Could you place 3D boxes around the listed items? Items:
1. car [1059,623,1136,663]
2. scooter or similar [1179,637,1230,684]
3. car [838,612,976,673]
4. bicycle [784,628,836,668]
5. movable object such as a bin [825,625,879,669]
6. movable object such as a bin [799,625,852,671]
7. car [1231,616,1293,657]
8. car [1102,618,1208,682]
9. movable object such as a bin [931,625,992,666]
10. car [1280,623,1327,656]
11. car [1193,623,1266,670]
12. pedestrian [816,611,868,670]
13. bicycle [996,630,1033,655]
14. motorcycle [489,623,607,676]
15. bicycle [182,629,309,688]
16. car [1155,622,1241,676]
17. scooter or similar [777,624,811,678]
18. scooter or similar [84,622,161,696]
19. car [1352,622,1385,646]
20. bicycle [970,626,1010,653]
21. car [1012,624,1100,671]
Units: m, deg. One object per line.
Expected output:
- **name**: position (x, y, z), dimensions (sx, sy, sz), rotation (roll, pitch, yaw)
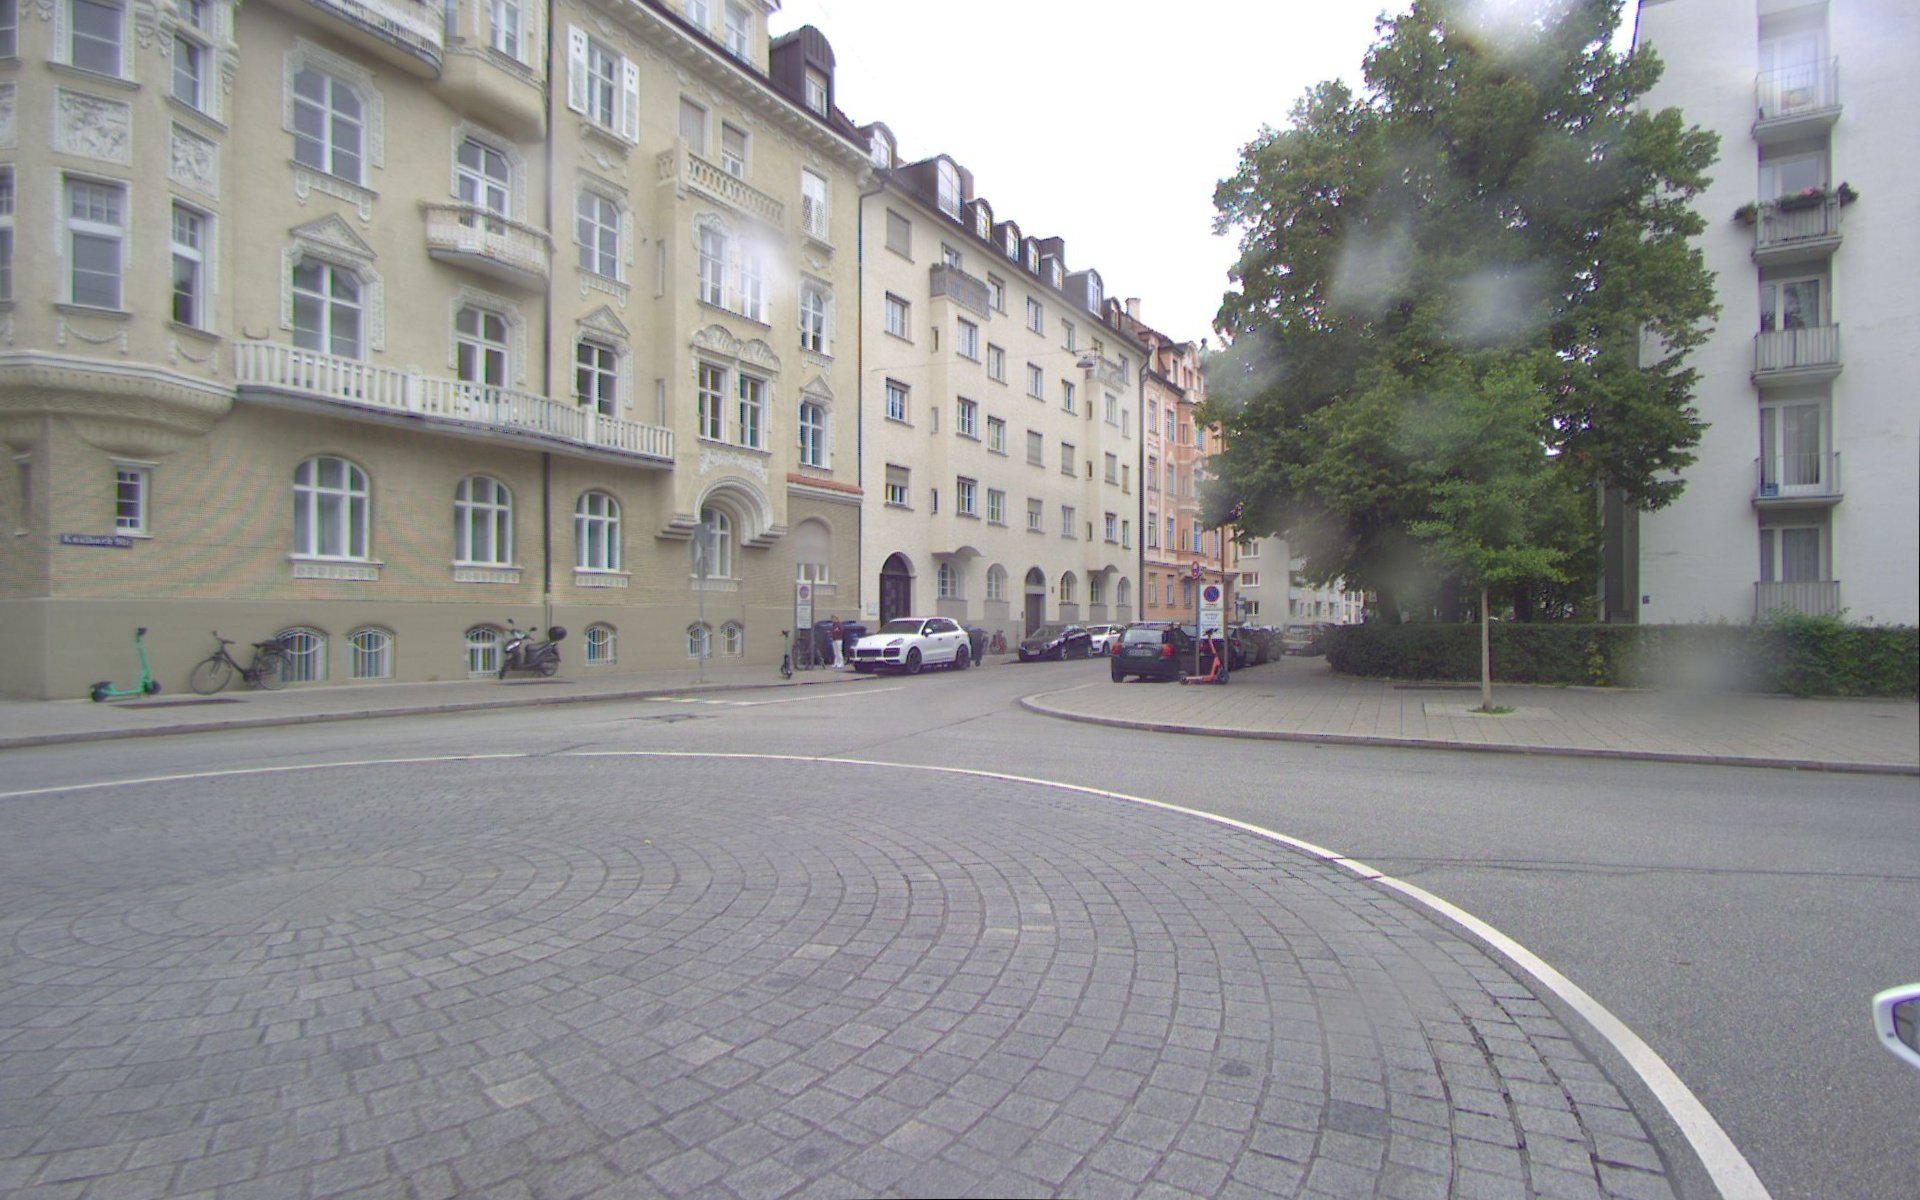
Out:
- **car**: position (6.111, 1.854, 44.276), dimensions (1.964, 1.617, 4.204), rotation (0, -1, 30)
- **scooter or similar**: position (5.632, 1.387, 23.131), dimensions (1.119, 1.039, 0.379), rotation (0, -1, 18)
- **car**: position (-1.504, 1.241, 30.785), dimensions (1.964, 1.714, 4.801), rotation (0, -1, 30)
- **bicycle**: position (-4.441, 1.405, 29.815), dimensions (0.540, 1.165, 1.842), rotation (0, -1, 29)
- **movable object such as a bin**: position (-3.687, 1.586, 34.286), dimensions (1.321, 1.477, 1.293), rotation (-1, -1, 31)
- **movable object such as a bin**: position (-4.431, 1.580, 33.133), dimensions (1.321, 1.477, 1.160), rotation (-1, -1, 31)
- **car**: position (12.200, 1.425, 40.407), dimensions (1.743, 1.538, 4.031), rotation (0, -1, 26)
- **car**: position (5.208, 1.253, 26.435), dimensions (1.743, 1.538, 4.031), rotation (0, -1, 26)
- **movable object such as a bin**: position (0.061, 1.543, 34.825), dimensions (1.535, 1.367, 1.534), rotation (0, -1, 32)
- **car**: position (17.294, 1.958, 50.463), dimensions (1.743, 1.538, 4.031), rotation (0, -1, 26)
- **car**: position (9.572, 1.605, 35.514), dimensions (1.743, 1.538, 4.031), rotation (0, -1, 26)
- **pedestrian**: position (-3.750, 1.286, 31.944), dimensions (1.112, 1.828, 1.269), rotation (-1, -1, 31)
- **bicycle**: position (2.525, 1.926, 46.065), dimensions (0.741, 1.124, 2.290), rotation (0, -1, 30)
- **motorcycle**: position (-9.831, 1.164, 24.101), dimensions (0.989, 1.195, 2.559), rotation (0, -2, 30)
- **bicycle**: position (-13.320, 1.069, 18.785), dimensions (0.550, 1.036, 1.879), rotation (0, -1, 31)
- **car**: position (7.463, 1.464, 31.288), dimensions (1.743, 1.538, 4.031), rotation (0, -1, 26)
- **scooter or similar**: position (-4.422, 1.337, 26.704), dimensions (0.698, 1.413, 1.351), rotation (0, -1, -19)
- **scooter or similar**: position (-14.026, 0.961, 16.857), dimensions (0.521, 1.181, 1.351), rotation (0, -1, -18)
- **car**: position (27.285, 2.269, 67.051), dimensions (1.743, 1.538, 4.031), rotation (0, -1, 26)
- **bicycle**: position (1.334, 1.708, 43.869), dimensions (0.741, 1.124, 2.290), rotation (0, -1, 30)
- **car**: position (3.866, 1.843, 39.877), dimensions (1.964, 1.714, 4.204), rotation (0, -1, 30)
